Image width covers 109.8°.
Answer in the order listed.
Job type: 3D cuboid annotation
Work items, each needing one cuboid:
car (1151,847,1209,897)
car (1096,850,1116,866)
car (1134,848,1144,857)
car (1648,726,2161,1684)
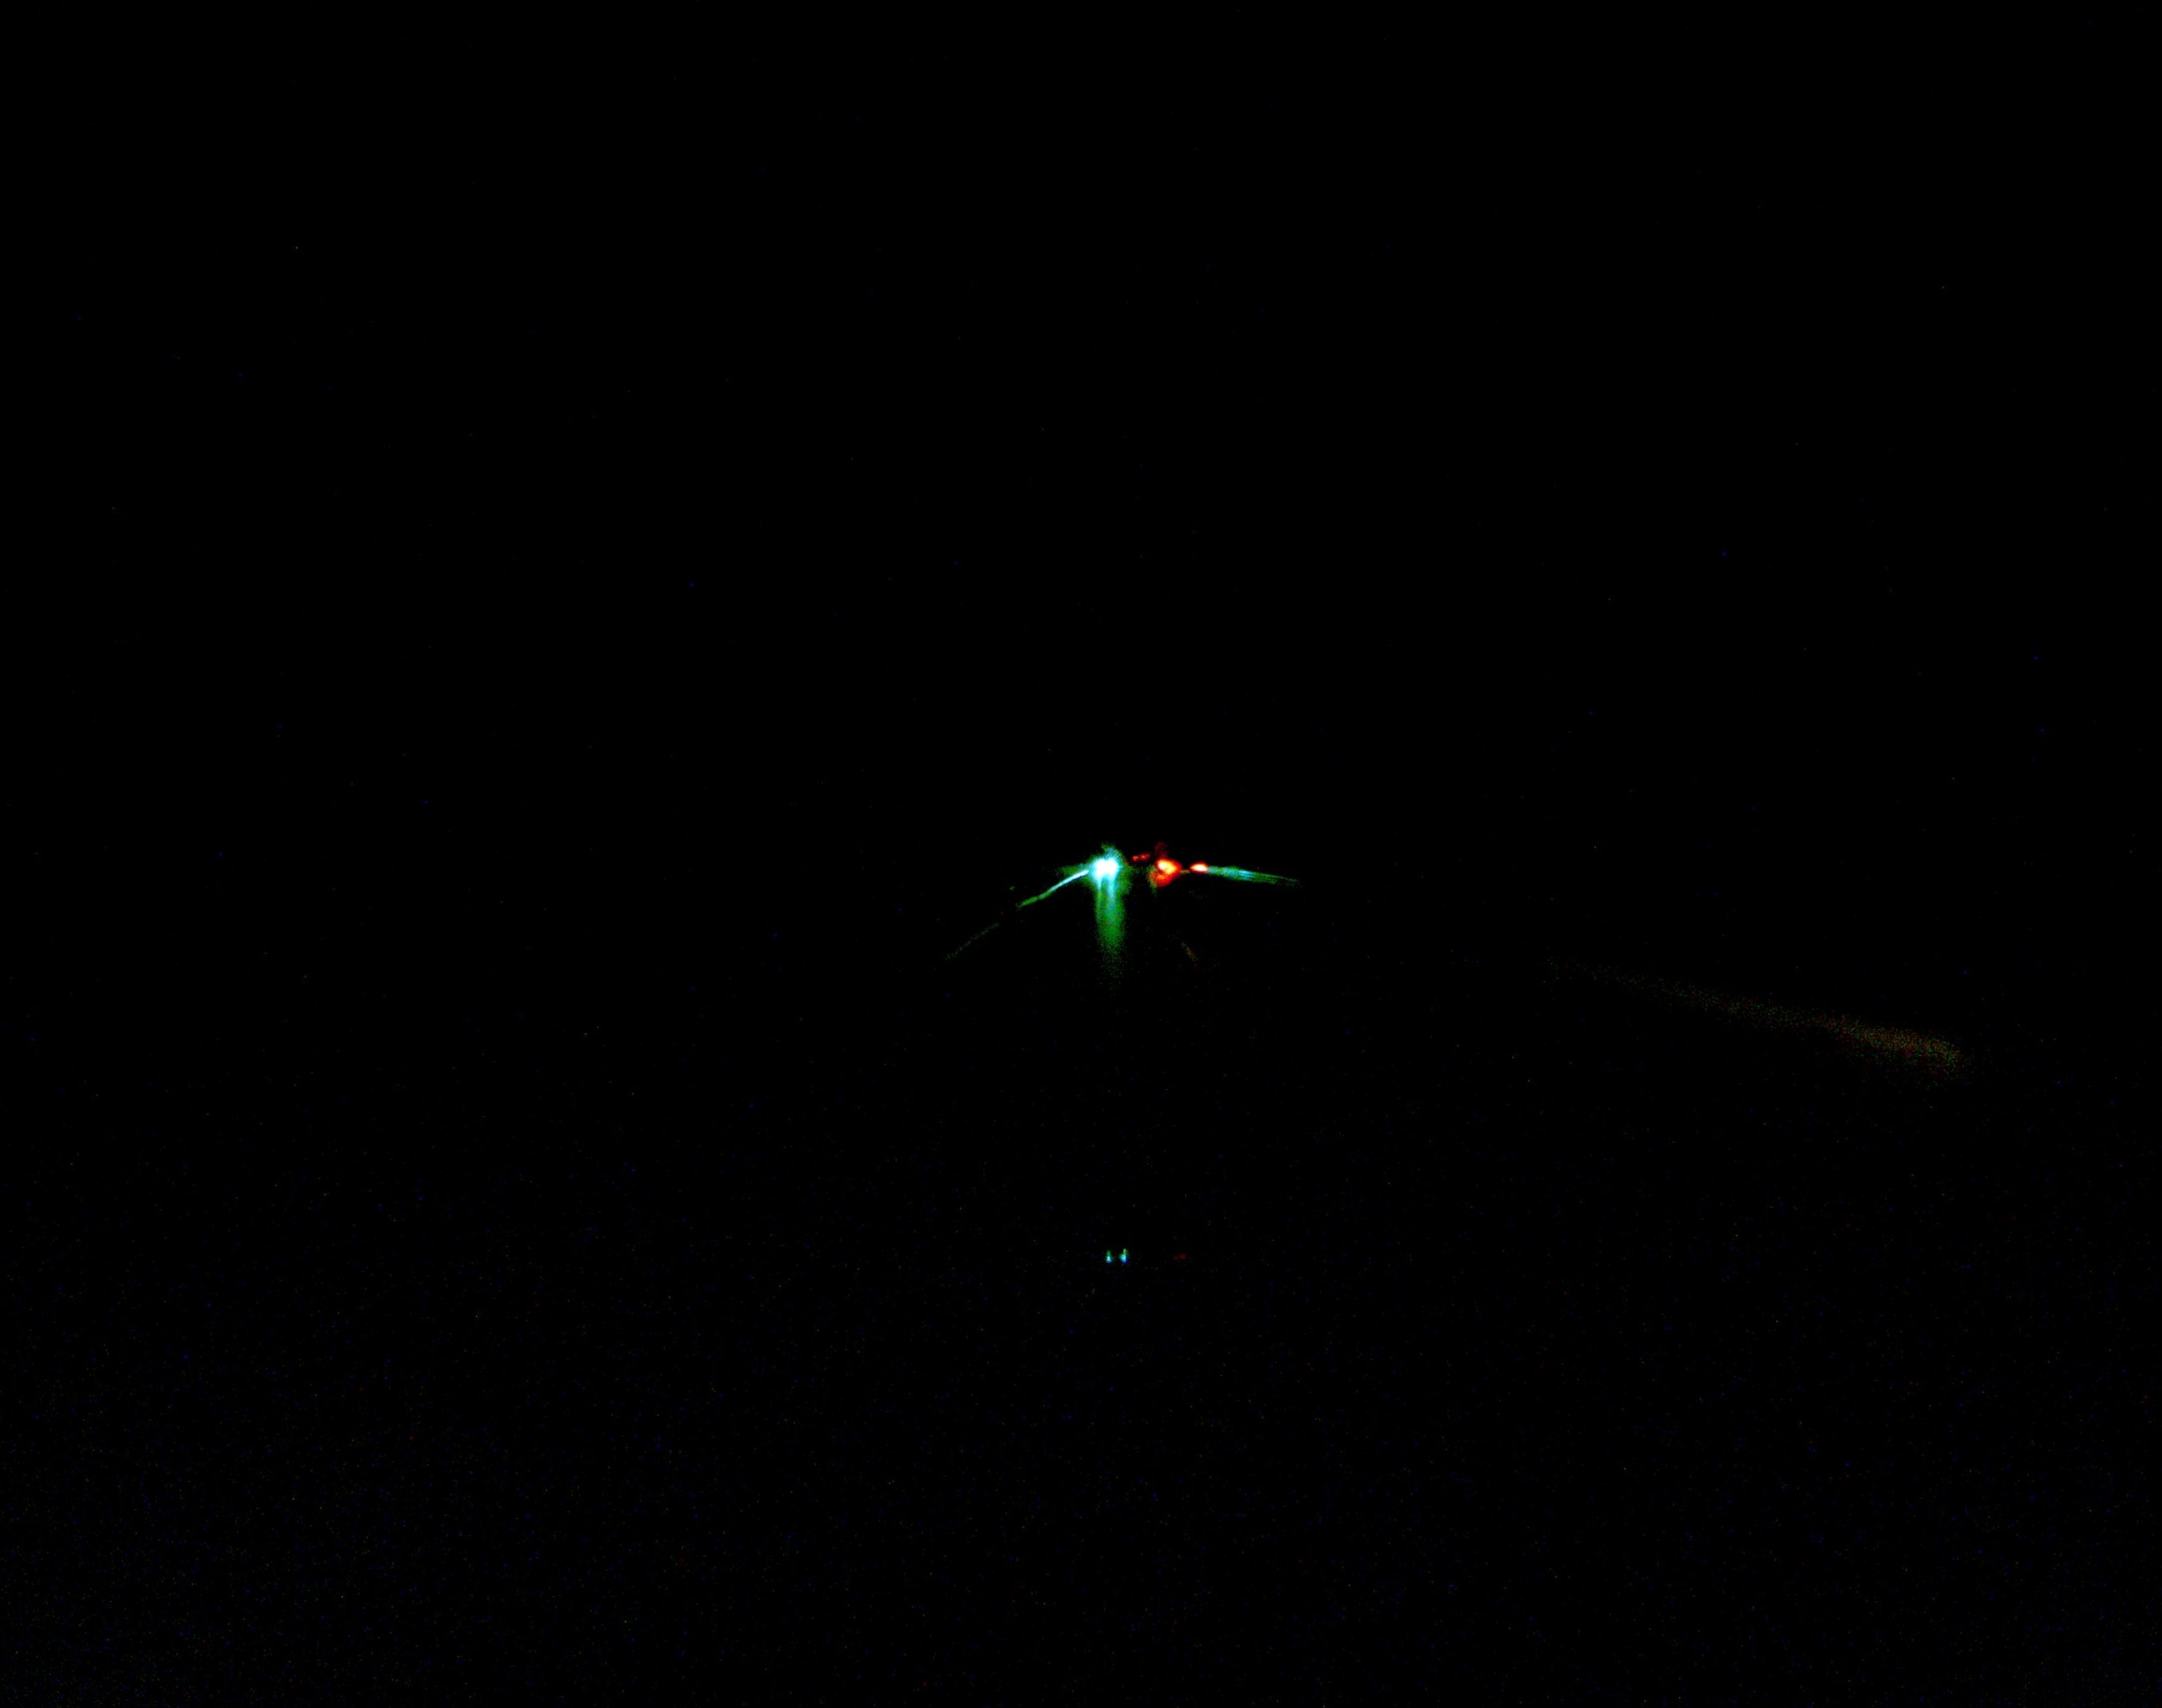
[{"bbox_3d":[3.673,0.632,28.872,1.775,1.665,4.055,-3,1,2],"label":"car"},{"bbox_3d":[2.763,0.407,83.797,1.998,1.724,4.001,-2,0,4],"label":"car"},{"bbox_3d":[10.853,-0.341,142.482,1.822,1.546,3.871,-1,1,2],"label":"car"},{"bbox_3d":[2.997,0.627,0.649,1.998,1.812,4.000,-3,1,0],"label":"car"}]
